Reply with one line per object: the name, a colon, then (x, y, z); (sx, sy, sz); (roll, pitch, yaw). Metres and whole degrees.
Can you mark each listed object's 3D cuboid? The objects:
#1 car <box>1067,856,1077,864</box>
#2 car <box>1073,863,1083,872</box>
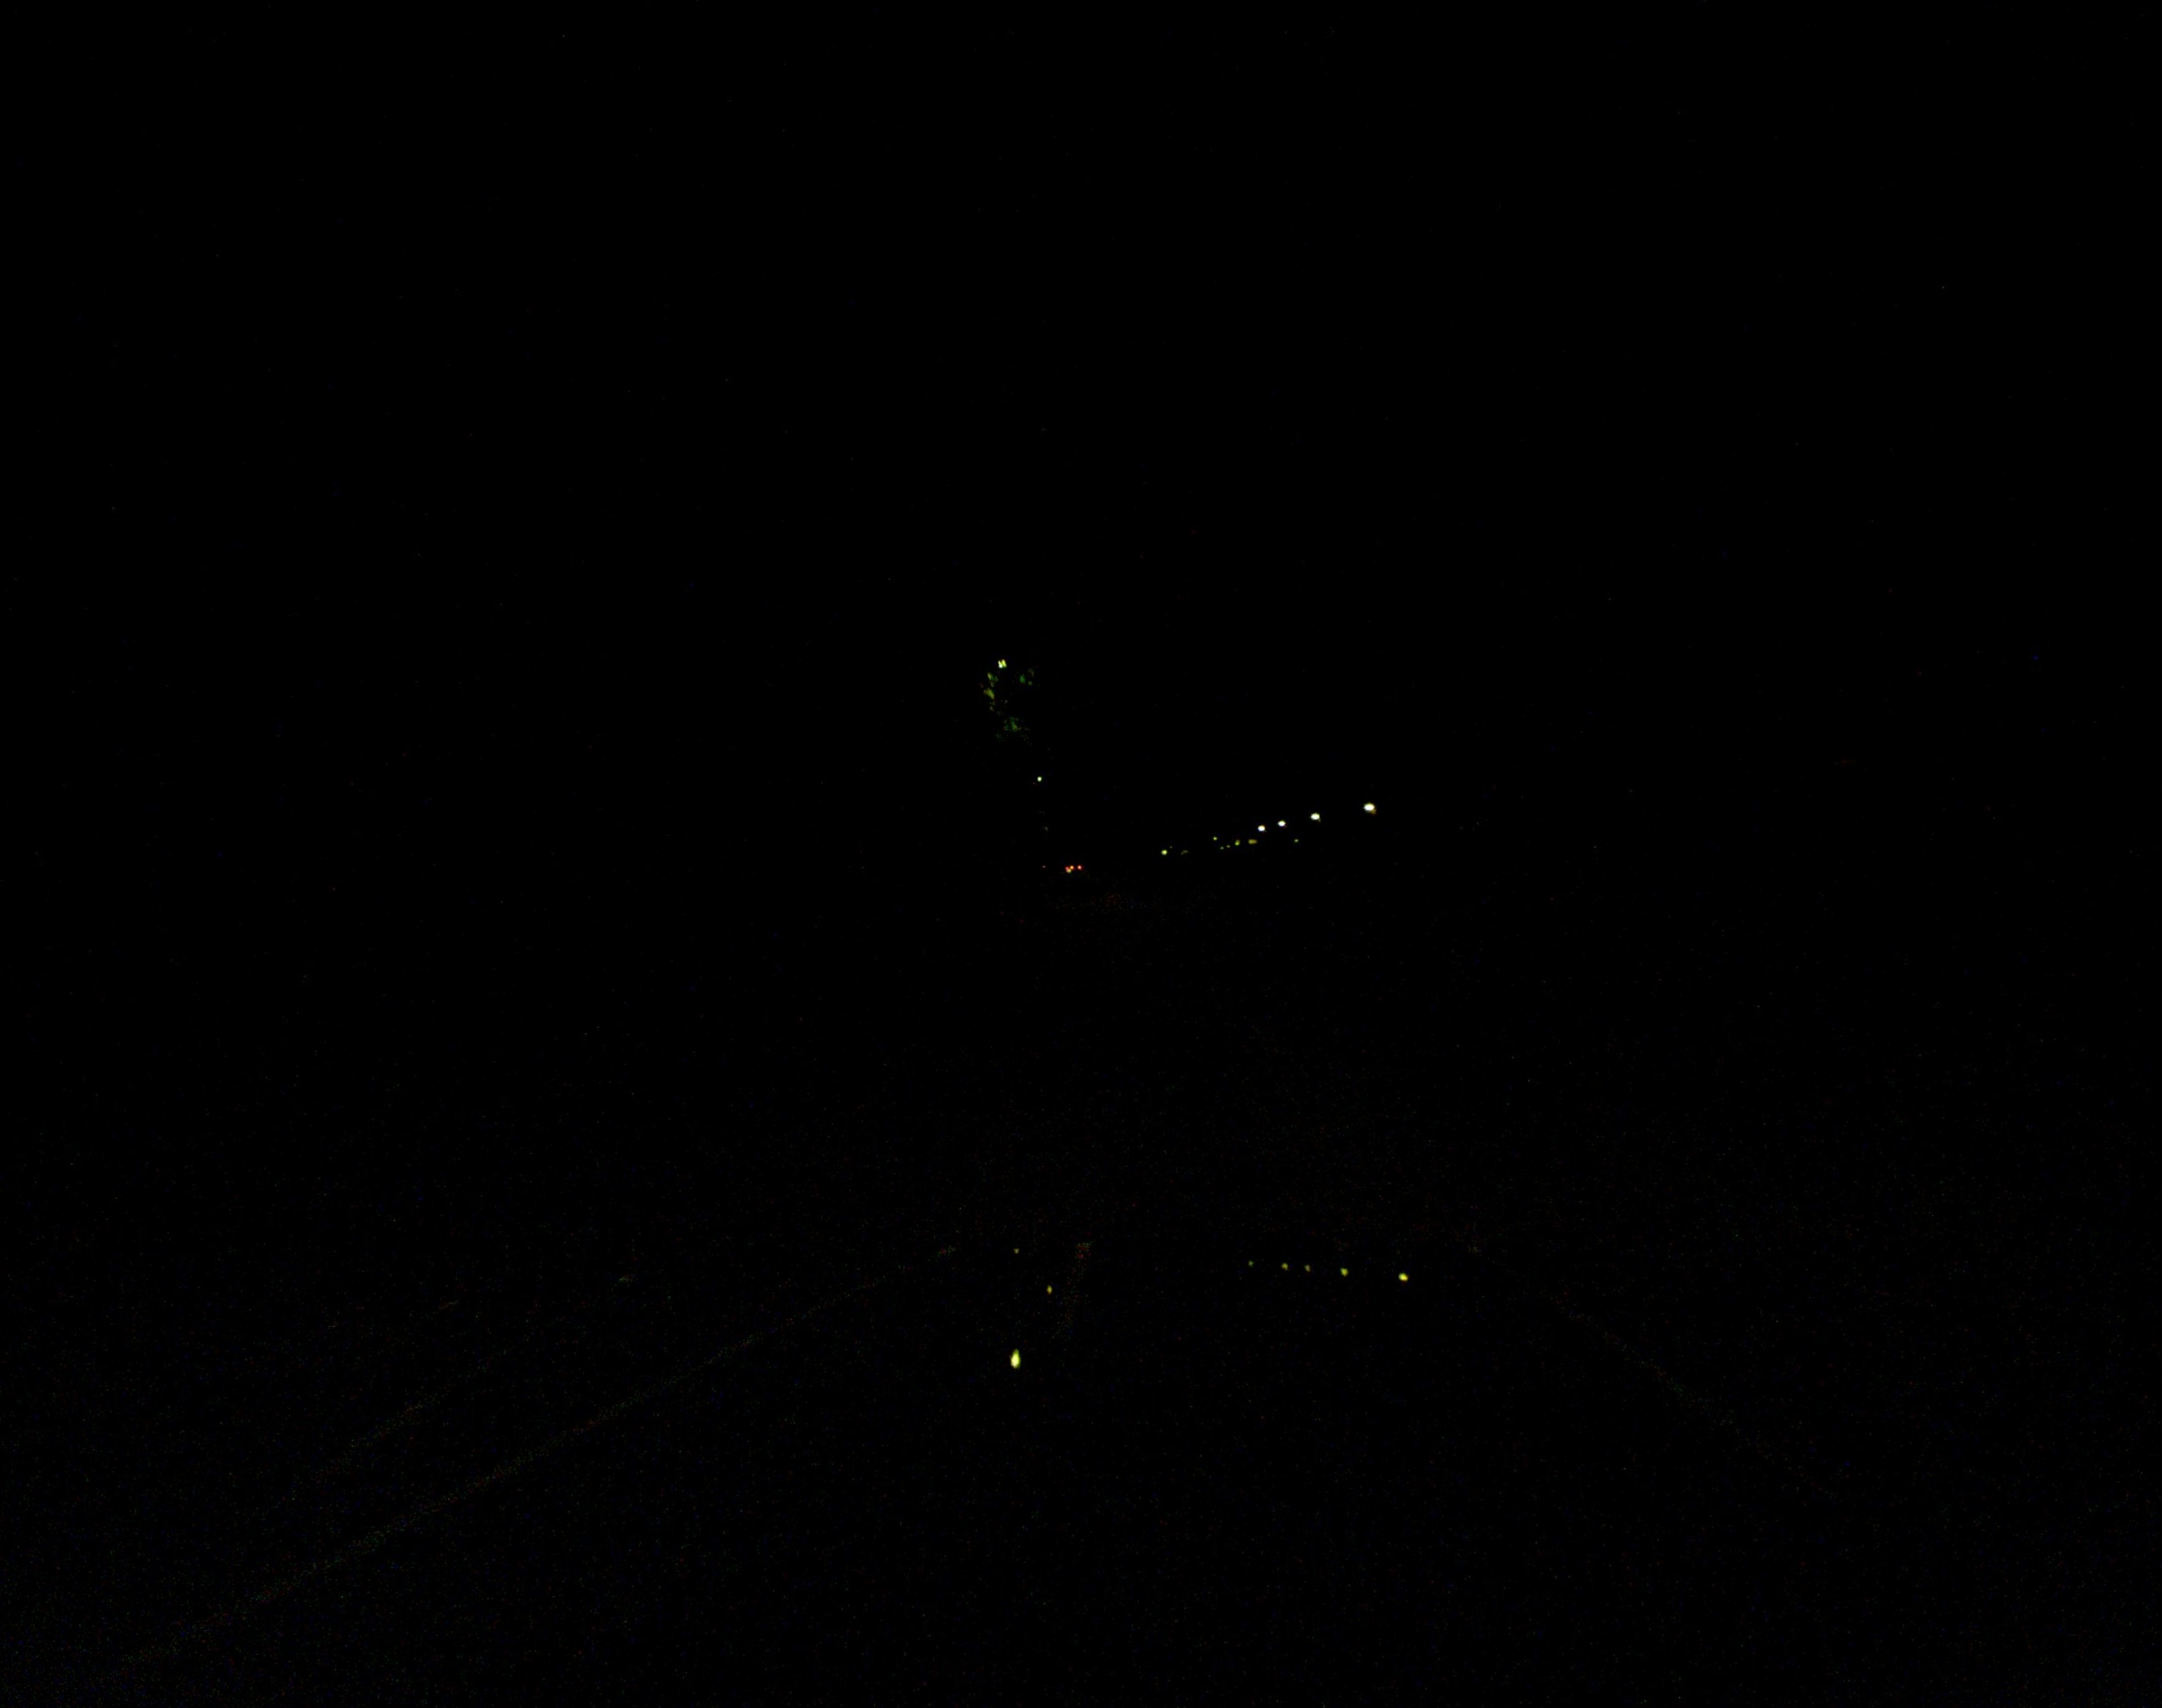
car: (-1.700, 1.223, 144.681); (1.692, 1.449, 4.000); (-2, 0, 0)
car: (-0.528, 2.232, 126.889); (1.651, 1.482, 3.557); (-2, 0, -2)
